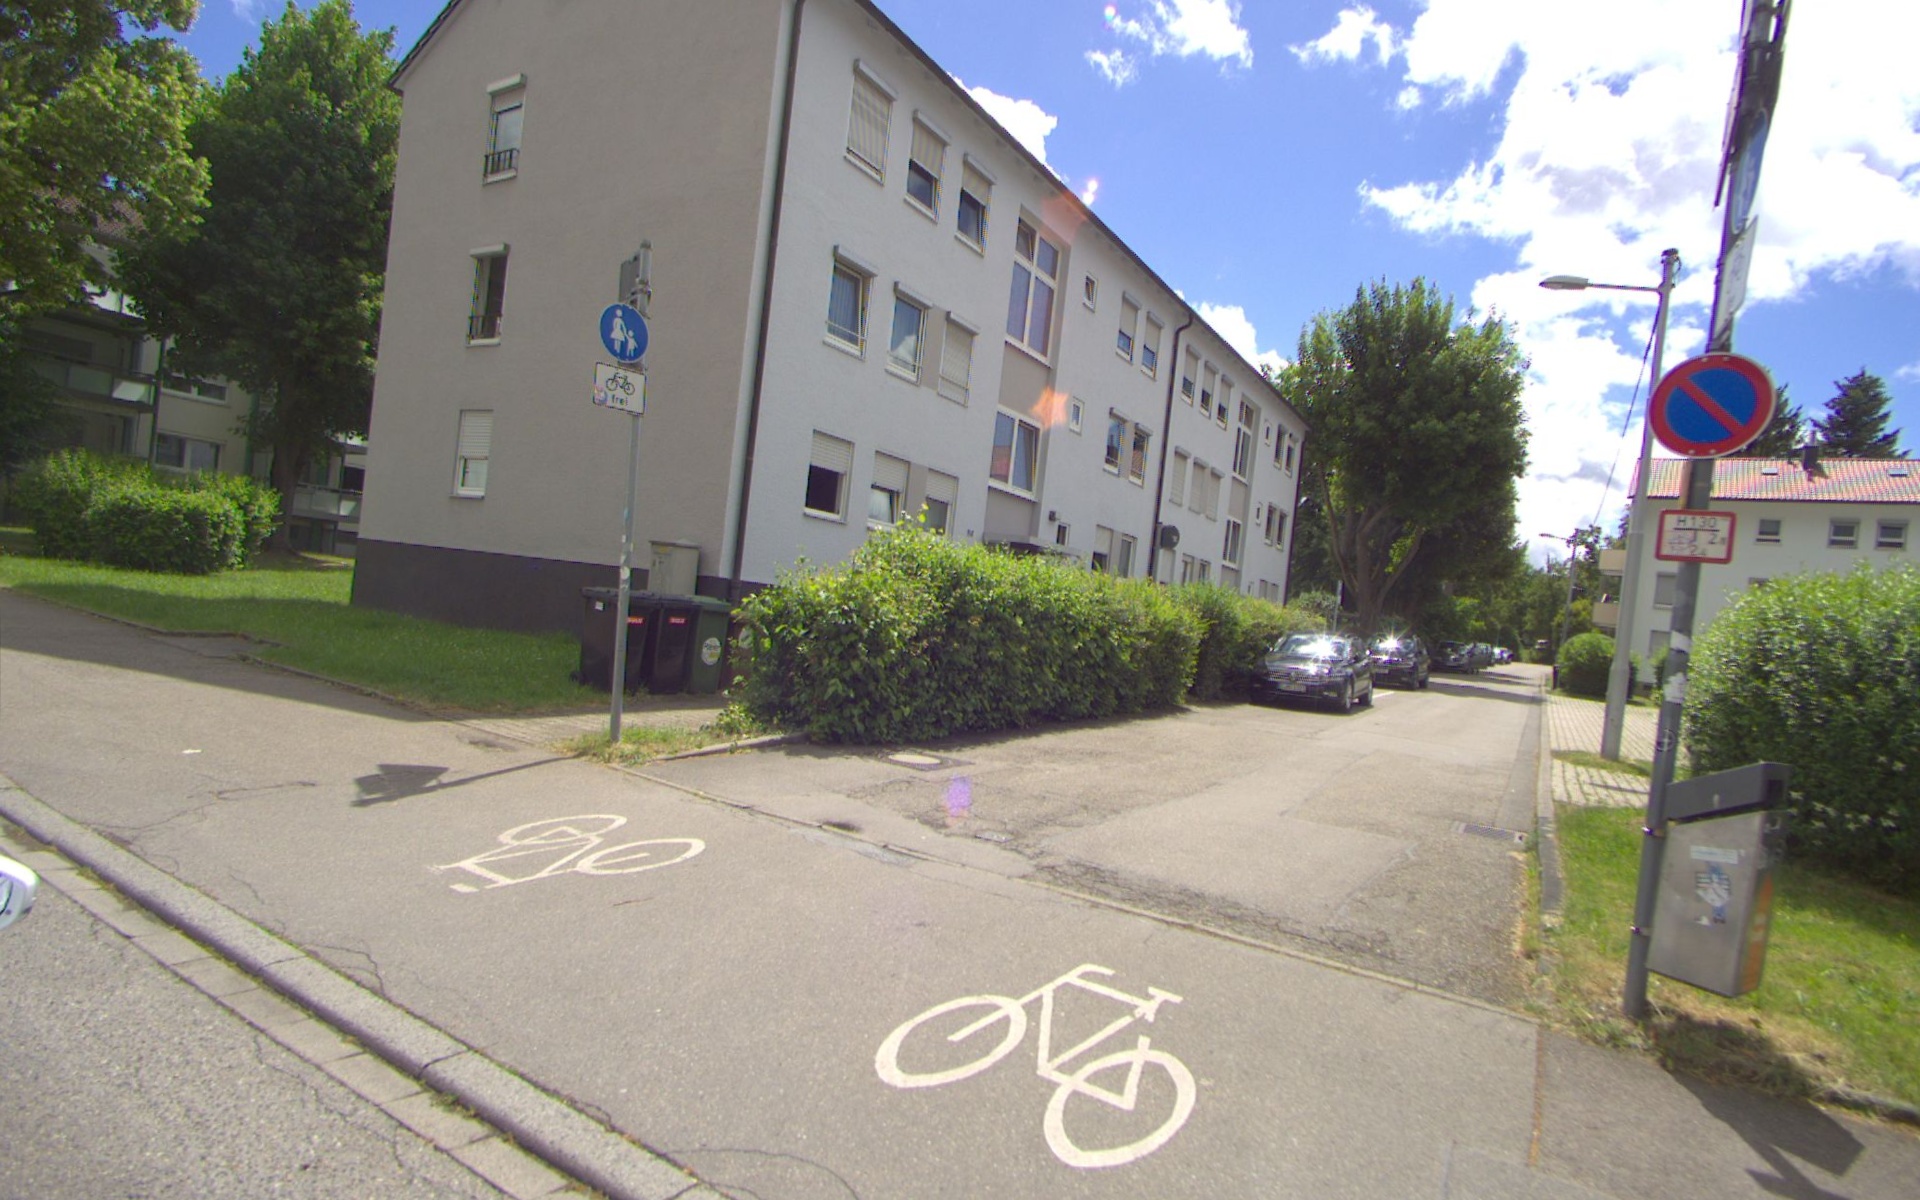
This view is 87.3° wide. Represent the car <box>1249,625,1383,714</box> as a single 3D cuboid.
[{"bbox_3d":[7.080,1.341,19.800,1.548,1.456,3.726,5,0,33],"label":"car"}]

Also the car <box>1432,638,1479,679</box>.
[{"bbox_3d":[25.106,2.949,50.943,1.548,1.855,3.726,5,0,33],"label":"car"}]

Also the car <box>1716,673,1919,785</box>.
[{"bbox_3d":[16.160,2.334,17.911,4.011,1.502,1.766,7,2,32],"label":"car"}]

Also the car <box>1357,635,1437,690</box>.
[{"bbox_3d":[13.395,1.894,30.728,1.548,1.456,3.726,5,0,33],"label":"car"}]

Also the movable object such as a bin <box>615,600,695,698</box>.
[{"bbox_3d":[-3.243,0.513,10.696,0.542,0.959,0.500,7,2,32],"label":"movable object such as a bin"}]

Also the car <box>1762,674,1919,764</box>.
[{"bbox_3d":[19.973,2.634,21.579,4.011,1.502,1.624,7,2,32],"label":"car"}]

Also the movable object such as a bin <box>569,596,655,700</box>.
[{"bbox_3d":[-3.524,0.479,10.203,0.570,0.967,0.496,7,2,32],"label":"movable object such as a bin"}]

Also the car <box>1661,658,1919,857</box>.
[{"bbox_3d":[8.604,1.515,8.918,3.681,1.432,1.679,7,-2,32],"label":"car"}]

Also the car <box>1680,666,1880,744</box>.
[{"bbox_3d":[22.799,2.876,28.184,4.011,1.502,1.624,7,2,32],"label":"car"}]
